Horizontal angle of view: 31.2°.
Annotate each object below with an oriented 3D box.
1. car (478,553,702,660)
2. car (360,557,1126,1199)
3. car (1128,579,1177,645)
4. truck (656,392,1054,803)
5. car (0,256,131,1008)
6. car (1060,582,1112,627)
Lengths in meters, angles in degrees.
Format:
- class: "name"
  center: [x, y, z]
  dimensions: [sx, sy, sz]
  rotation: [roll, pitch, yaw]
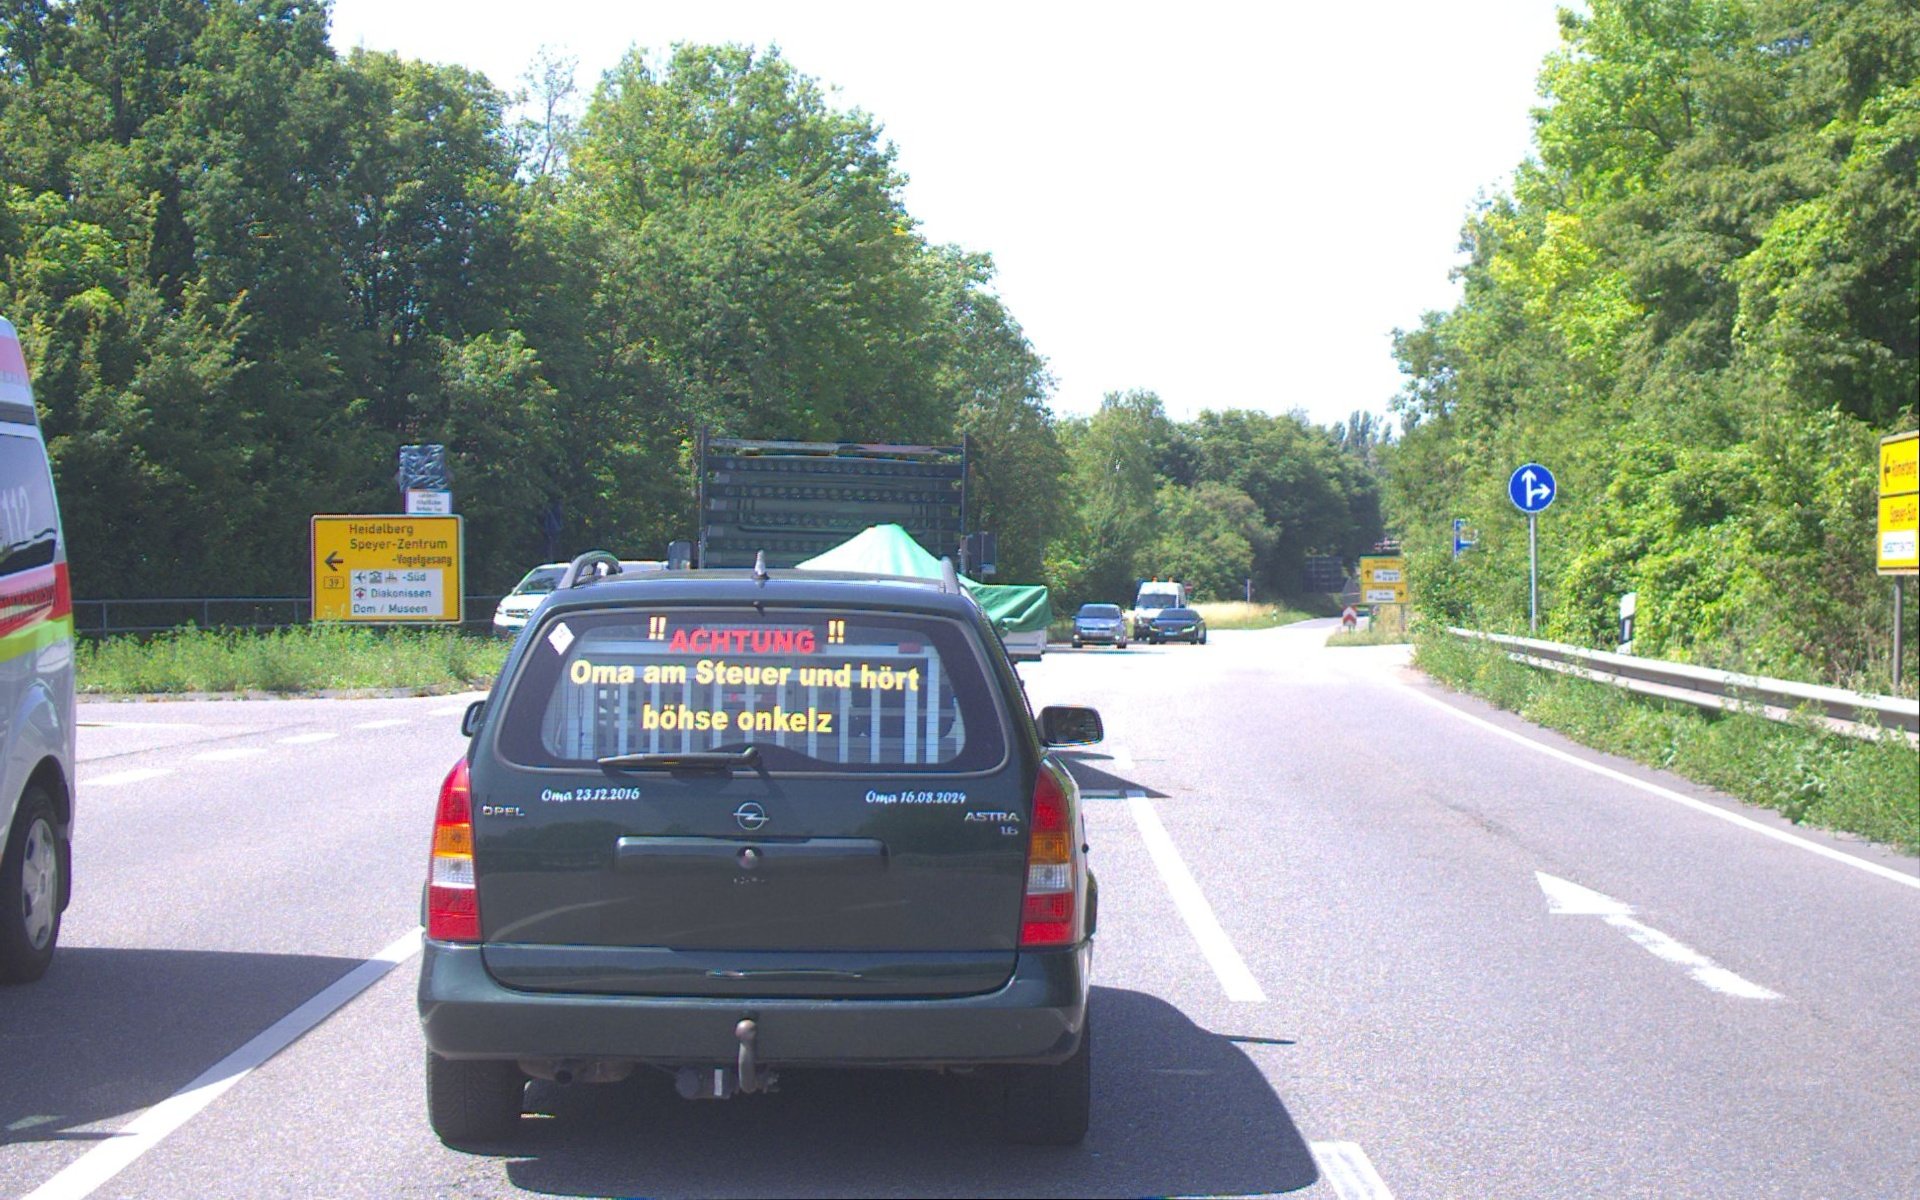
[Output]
- class: "car"
  center: [-6.923, 0.078, 64.980]
  dimensions: [2.012, 1.917, 5.189]
  rotation: [1, 1, 22]
- class: "car"
  center: [-0.483, 0.626, 9.684]
  dimensions: [1.720, 1.452, 3.797]
  rotation: [1, 1, 0]
- class: "car"
  center: [8.526, 0.506, 151.856]
  dimensions: [2.105, 2.840, 6.011]
  rotation: [1, 0, 4]
- class: "truck"
  center: [-0.941, -0.052, 24.834]
  dimensions: [2.138, 2.556, 6.641]
  rotation: [1, 1, -8]
- class: "car"
  center: [-3.994, 0.109, 9.900]
  dimensions: [1.990, 2.360, 5.182]
  rotation: [1, 1, -1]
- class: "car"
  center: [4.125, 0.144, 112.182]
  dimensions: [1.644, 1.414, 3.766]
  rotation: [1, 0, 3]
